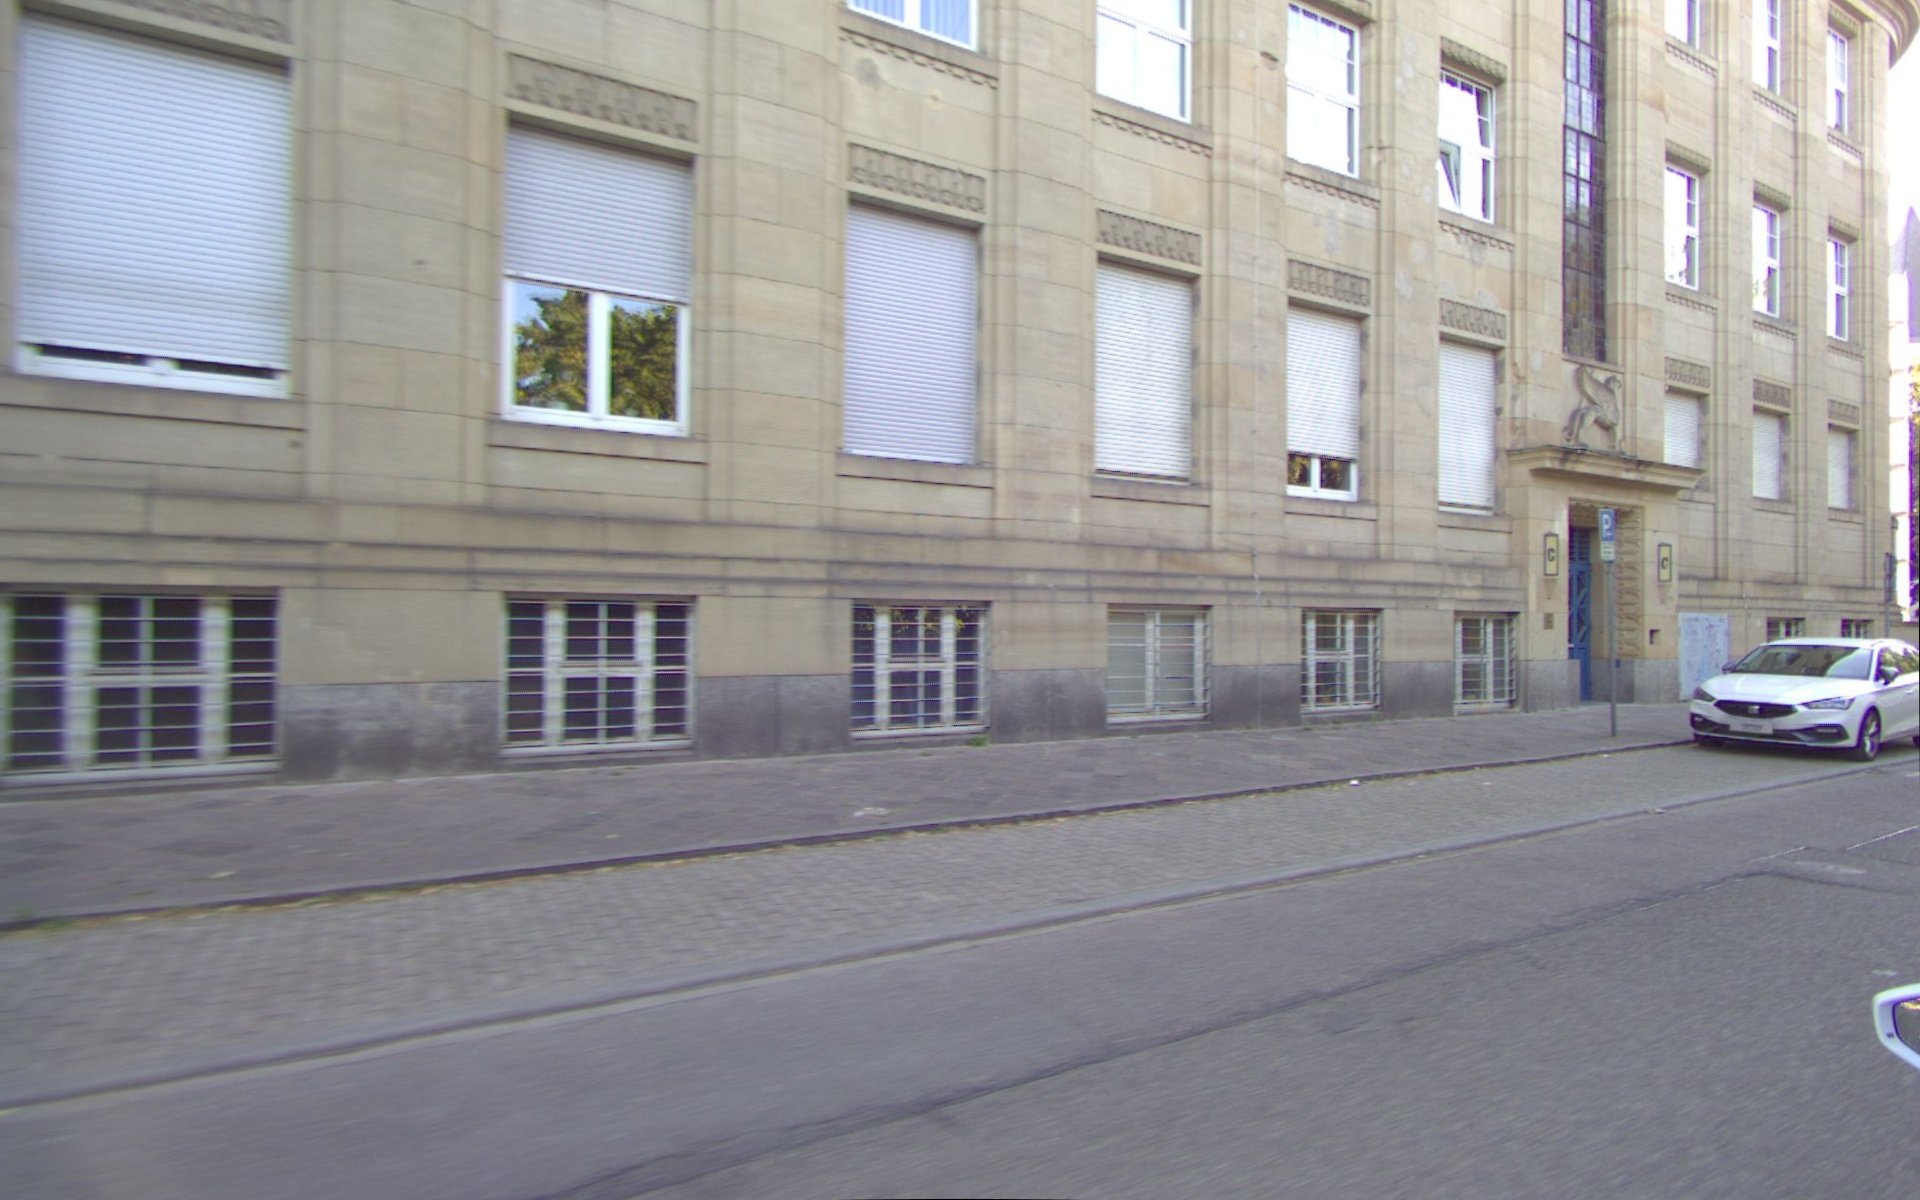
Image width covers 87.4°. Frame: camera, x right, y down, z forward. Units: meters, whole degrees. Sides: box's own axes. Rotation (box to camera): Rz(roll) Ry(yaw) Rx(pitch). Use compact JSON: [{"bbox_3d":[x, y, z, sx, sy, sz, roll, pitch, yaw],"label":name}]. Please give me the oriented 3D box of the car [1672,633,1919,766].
[{"bbox_3d":[11.463,1.194,13.372,4.512,1.454,1.733,1,-1,-33],"label":"car"}]
